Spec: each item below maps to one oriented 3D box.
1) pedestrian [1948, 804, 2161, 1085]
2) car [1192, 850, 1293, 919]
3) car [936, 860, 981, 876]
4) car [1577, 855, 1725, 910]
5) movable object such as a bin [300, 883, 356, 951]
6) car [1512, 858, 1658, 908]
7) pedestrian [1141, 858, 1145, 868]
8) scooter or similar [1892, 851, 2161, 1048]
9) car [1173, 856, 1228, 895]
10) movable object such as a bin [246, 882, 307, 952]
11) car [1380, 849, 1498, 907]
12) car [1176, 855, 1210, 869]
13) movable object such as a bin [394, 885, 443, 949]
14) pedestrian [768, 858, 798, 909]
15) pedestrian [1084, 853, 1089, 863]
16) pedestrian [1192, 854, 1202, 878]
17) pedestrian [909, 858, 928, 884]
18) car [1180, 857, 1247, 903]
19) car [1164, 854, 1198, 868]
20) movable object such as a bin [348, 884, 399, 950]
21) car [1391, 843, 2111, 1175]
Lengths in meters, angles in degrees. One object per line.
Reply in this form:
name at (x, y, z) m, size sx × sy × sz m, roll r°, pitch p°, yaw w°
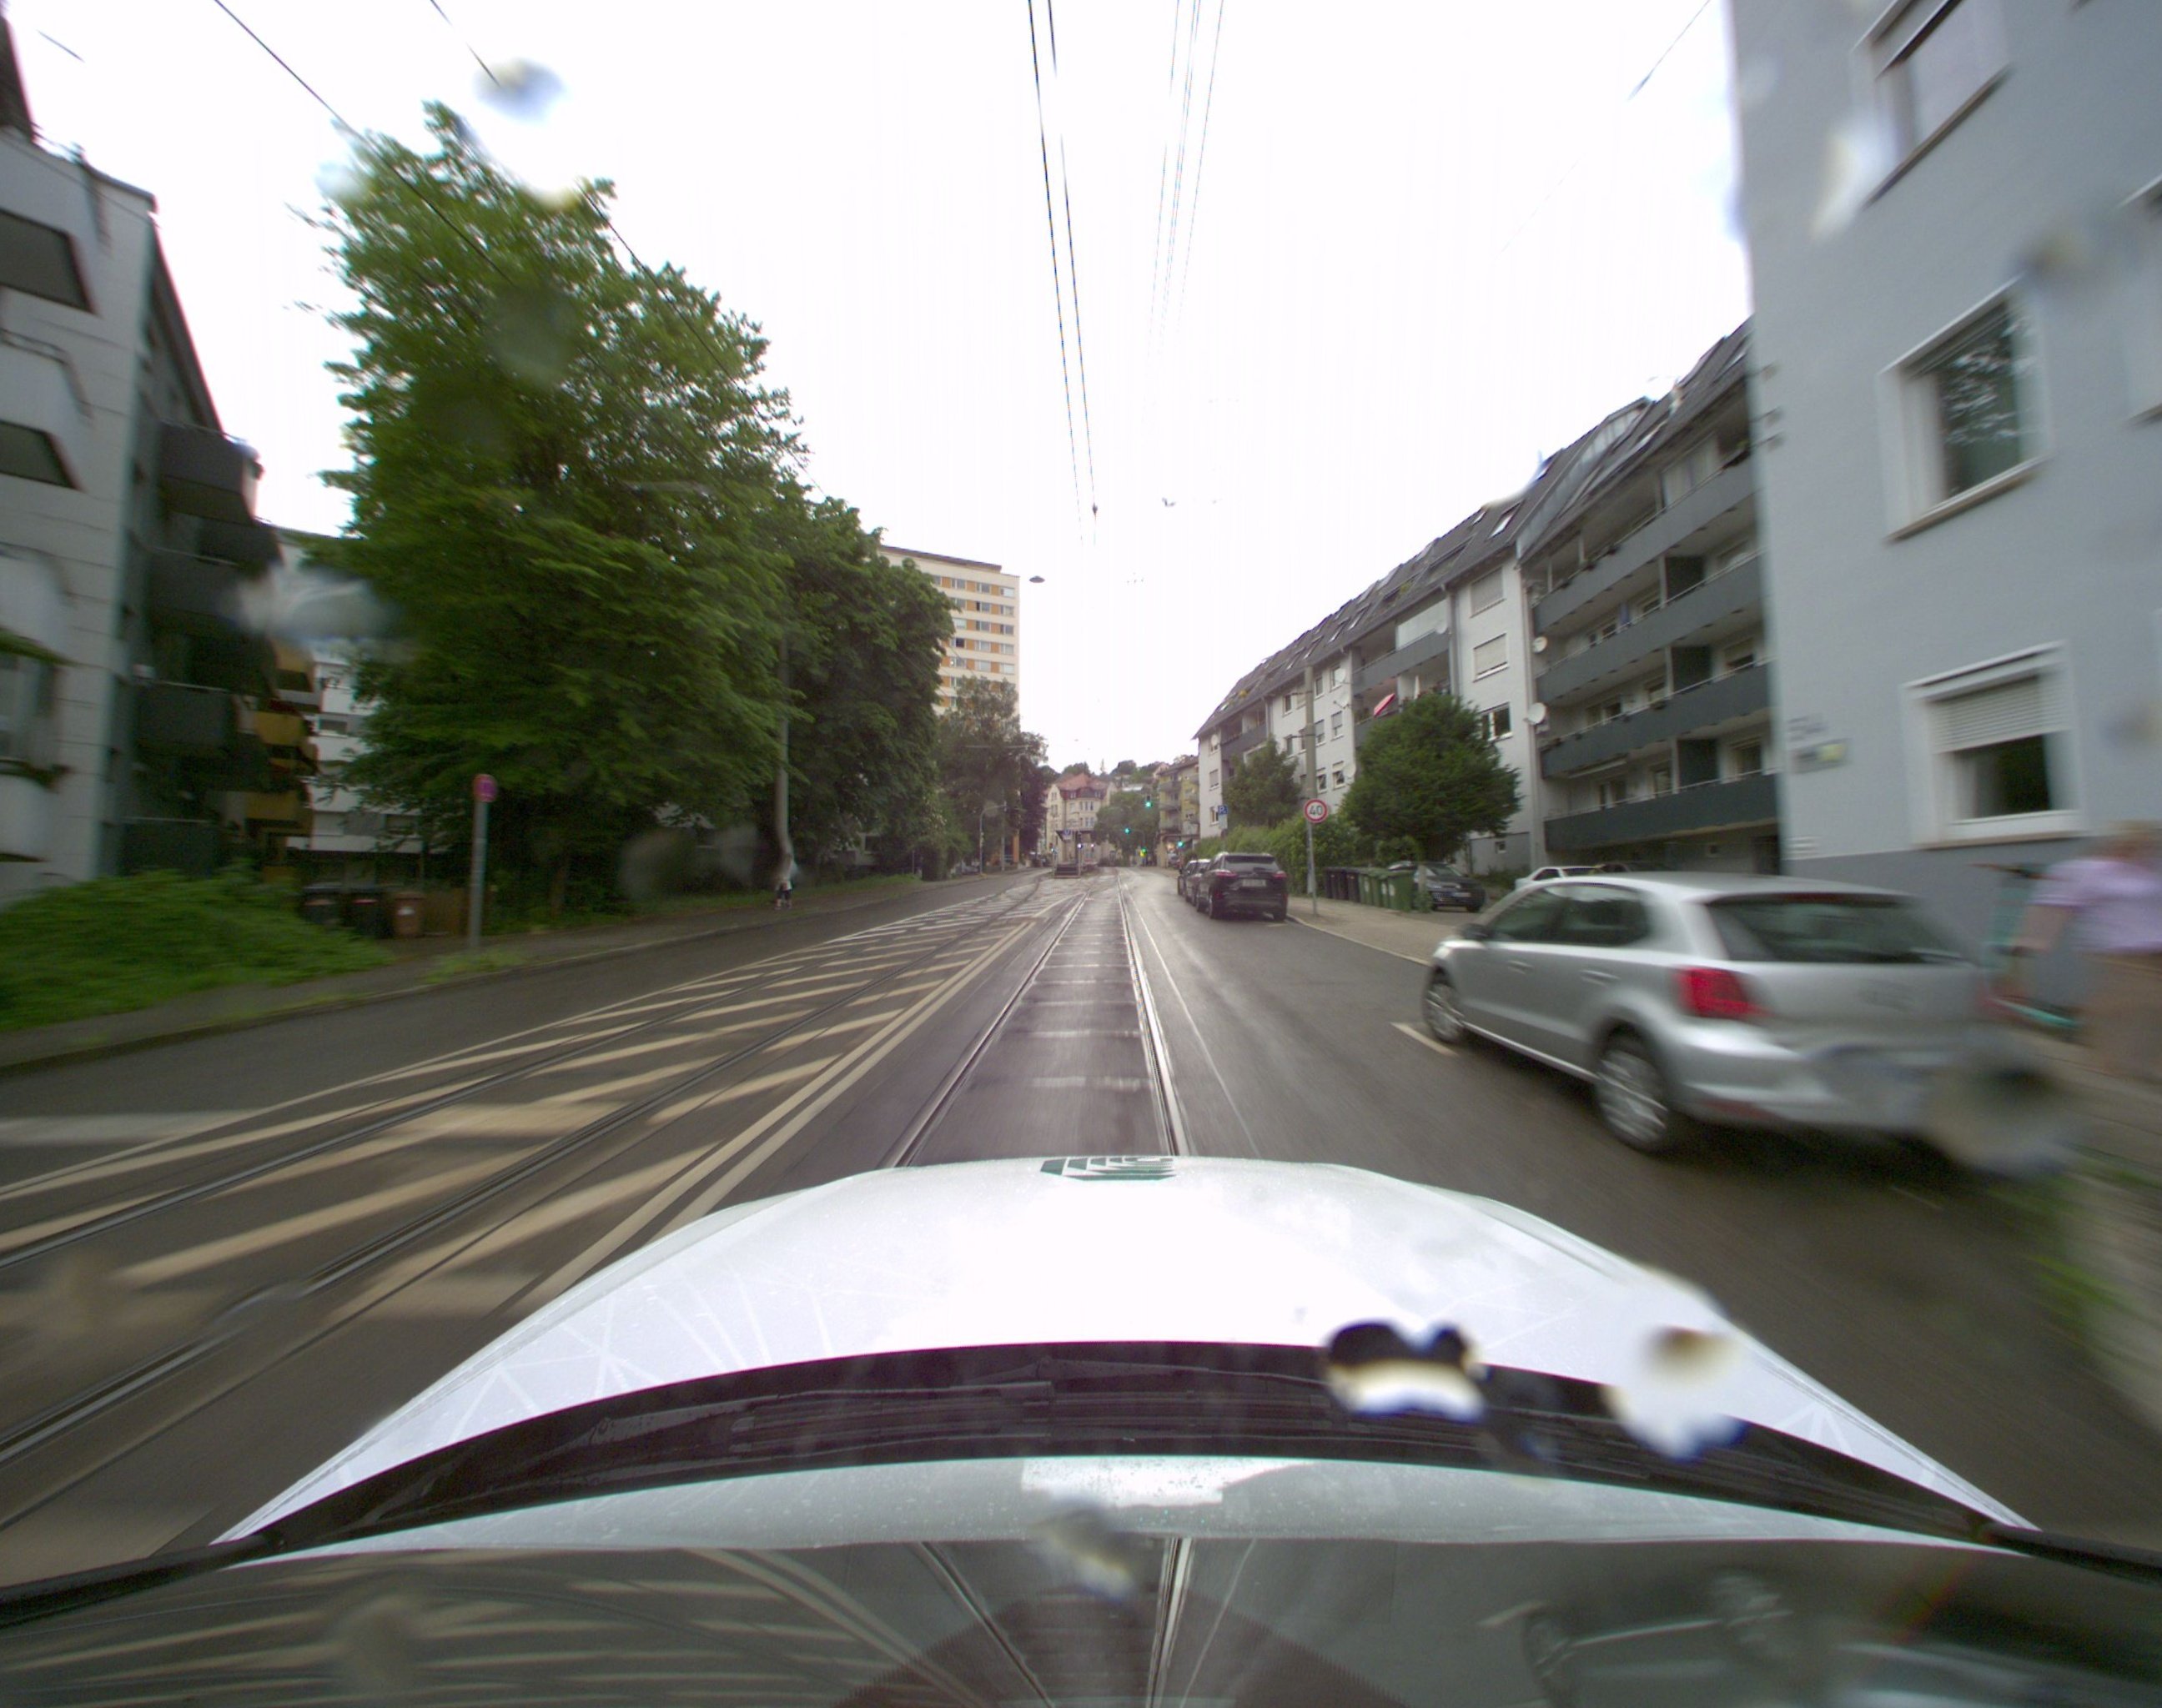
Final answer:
pedestrian at (6.207, 0.500, 5.002) m, size 0.878 × 1.583 × 0.802 m, roll -2°, pitch 1°, yaw 4°
car at (4.202, 0.763, 21.929) m, size 1.899 × 1.642 × 4.690 m, roll 1°, pitch -1°, yaw 1°
car at (-11.761, 1.331, 77.993) m, size 3.951 × 1.406 × 1.692 m, roll -2°, pitch -5°, yaw 24°
car at (17.250, 0.831, 24.920) m, size 1.678 × 1.521 × 4.205 m, roll -1°, pitch -1°, yaw 2°
movable object such as a bin at (-14.171, 1.188, 15.343) m, size 0.670 × 1.234 × 0.619 m, roll 4°, pitch -6°, yaw -40°
car at (15.094, 0.854, 24.715) m, size 1.770 × 1.379 × 4.431 m, roll 0°, pitch -1°, yaw 2°
pedestrian at (9.497, 1.397, 124.946) m, size 0.577 × 1.467 × 0.542 m, roll 1°, pitch -5°, yaw -6°
scooter or similar at (7.083, 0.618, 6.093) m, size 0.571 × 1.249 × 1.613 m, roll 0°, pitch 1°, yaw 7°
car at (4.756, 0.843, 32.822) m, size 1.698 × 1.426 × 3.863 m, roll 1°, pitch -1°, yaw 1°
movable object such as a bin at (-14.691, 1.151, 14.891) m, size 0.670 × 1.234 × 0.619 m, roll 4°, pitch -6°, yaw -40°
car at (10.438, 0.784, 24.087) m, size 1.714 × 1.515 × 4.204 m, roll 0°, pitch -4°, yaw 2°
car at (13.003, 0.906, 94.681) m, size 3.829 × 1.543 × 1.807 m, roll 0°, pitch -3°, yaw 0°
movable object such as a bin at (-13.218, 1.263, 16.255) m, size 0.670 × 1.234 × 0.619 m, roll 4°, pitch -6°, yaw -40°
pedestrian at (-9.735, 0.964, 26.629) m, size 0.581 × 1.600 × 0.868 m, roll 2°, pitch -2°, yaw -2°
pedestrian at (0.805, 0.604, 118.942) m, size 0.654 × 1.467 × 0.773 m, roll 0°, pitch -5°, yaw 5°
pedestrian at (7.907, 0.840, 55.708) m, size 0.641 × 1.629 × 0.700 m, roll 0°, pitch -2°, yaw 5°
pedestrian at (-10.816, 1.147, 54.163) m, size 0.907 × 1.678 × 0.744 m, roll -1°, pitch -5°, yaw 21°
car at (4.441, 0.862, 27.804) m, size 1.698 × 1.428 × 4.251 m, roll 1°, pitch -1°, yaw 1°
car at (12.104, 0.845, 98.442) m, size 3.972 × 1.646 × 1.808 m, roll 0°, pitch -3°, yaw 1°
movable object such as a bin at (-13.681, 1.223, 15.765) m, size 0.670 × 1.234 × 0.619 m, roll 4°, pitch -6°, yaw -40°
car at (3.733, 0.709, 5.645) m, size 1.698 × 1.433 × 4.102 m, roll 1°, pitch -1°, yaw 1°
